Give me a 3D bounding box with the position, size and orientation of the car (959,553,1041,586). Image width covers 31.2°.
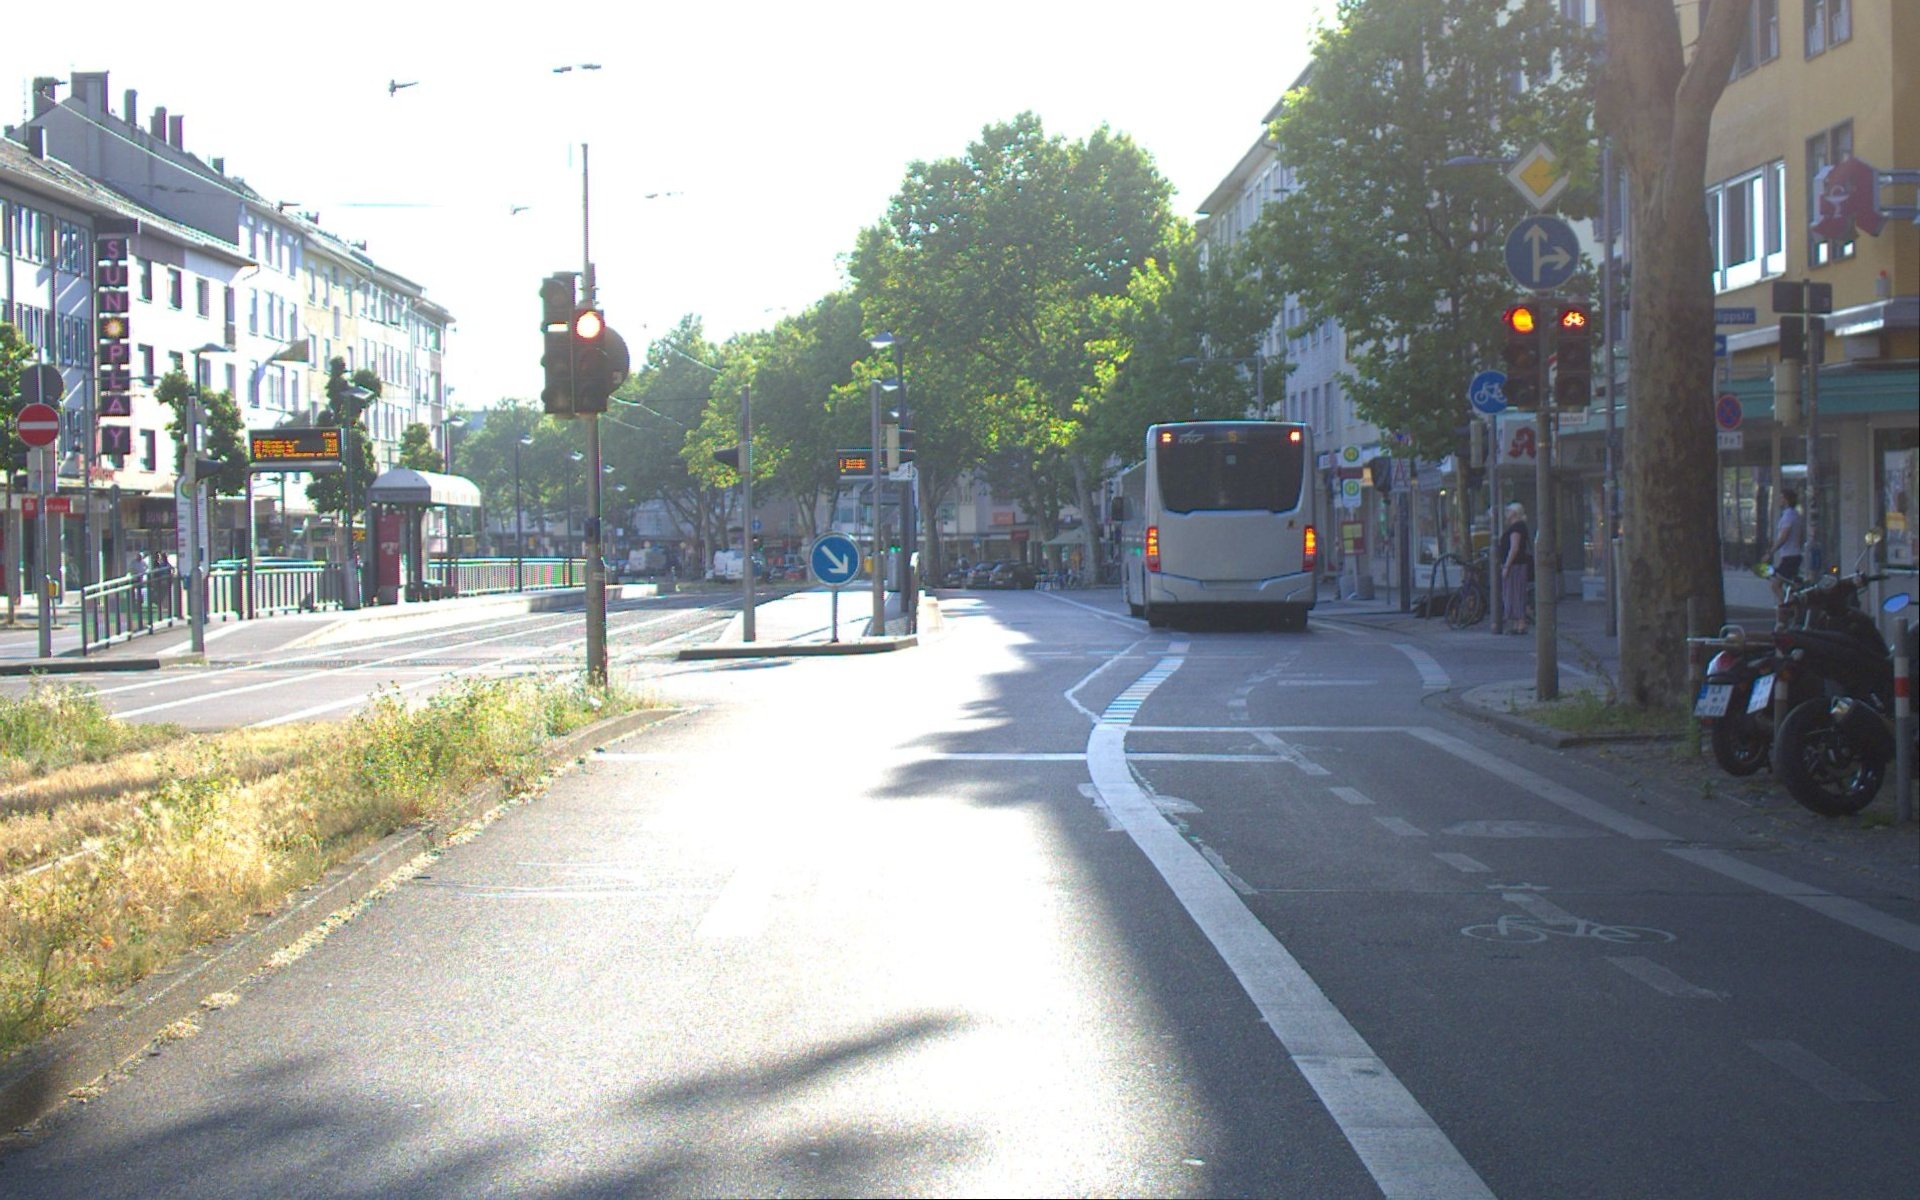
[{"bbox_3d":[2.082,-1.610,180.383,3.889,1.693,1.833,-1,1,-28],"label":"car"}]

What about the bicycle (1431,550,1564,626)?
[{"bbox_3d":[7.739,-0.170,49.535,1.772,1.018,0.694,-2,1,0],"label":"bicycle"}]

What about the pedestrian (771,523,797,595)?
[{"bbox_3d":[-2.155,-0.505,42.082,0.291,0.872,0.344,1,1,-3],"label":"pedestrian"}]

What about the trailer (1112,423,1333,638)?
[{"bbox_3d":[4.049,-1.090,54.865,2.812,3.099,8.794,1,1,0],"label":"trailer"}]

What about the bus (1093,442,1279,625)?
[{"bbox_3d":[4.074,-1.220,63.790,2.812,3.091,9.094,1,1,0],"label":"bus"}]

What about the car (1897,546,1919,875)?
[{"bbox_3d":[4.907,0.501,12.749,1.710,1.392,4.321,-1,1,1],"label":"car"}]

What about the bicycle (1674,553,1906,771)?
[{"bbox_3d":[5.244,0.365,21.647,0.695,1.199,1.843,2,5,39],"label":"bicycle"}]

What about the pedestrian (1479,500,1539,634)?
[{"bbox_3d":[7.356,-0.449,46.053,0.680,1.764,0.687,-1,1,1],"label":"pedestrian"}]

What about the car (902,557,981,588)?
[{"bbox_3d":[-0.992,-1.472,185.015,3.889,1.591,1.691,-1,1,-28],"label":"car"}]

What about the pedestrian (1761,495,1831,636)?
[{"bbox_3d":[10.618,-0.435,43.678,0.680,1.764,0.687,1,1,1],"label":"pedestrian"}]

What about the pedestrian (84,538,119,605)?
[{"bbox_3d":[-26.604,-0.887,106.546,0.708,2.006,0.949,-2,2,2],"label":"pedestrian"}]

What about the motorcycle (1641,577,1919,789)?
[{"bbox_3d":[4.876,0.463,20.272,1.993,1.148,0.601,-2,2,-42],"label":"motorcycle"}]

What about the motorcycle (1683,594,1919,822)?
[{"bbox_3d":[4.978,0.525,18.096,2.205,1.059,0.767,-3,2,-22],"label":"motorcycle"}]

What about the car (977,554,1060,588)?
[{"bbox_3d":[3.016,-1.490,177.012,3.889,1.693,1.833,-1,1,-28],"label":"car"}]
